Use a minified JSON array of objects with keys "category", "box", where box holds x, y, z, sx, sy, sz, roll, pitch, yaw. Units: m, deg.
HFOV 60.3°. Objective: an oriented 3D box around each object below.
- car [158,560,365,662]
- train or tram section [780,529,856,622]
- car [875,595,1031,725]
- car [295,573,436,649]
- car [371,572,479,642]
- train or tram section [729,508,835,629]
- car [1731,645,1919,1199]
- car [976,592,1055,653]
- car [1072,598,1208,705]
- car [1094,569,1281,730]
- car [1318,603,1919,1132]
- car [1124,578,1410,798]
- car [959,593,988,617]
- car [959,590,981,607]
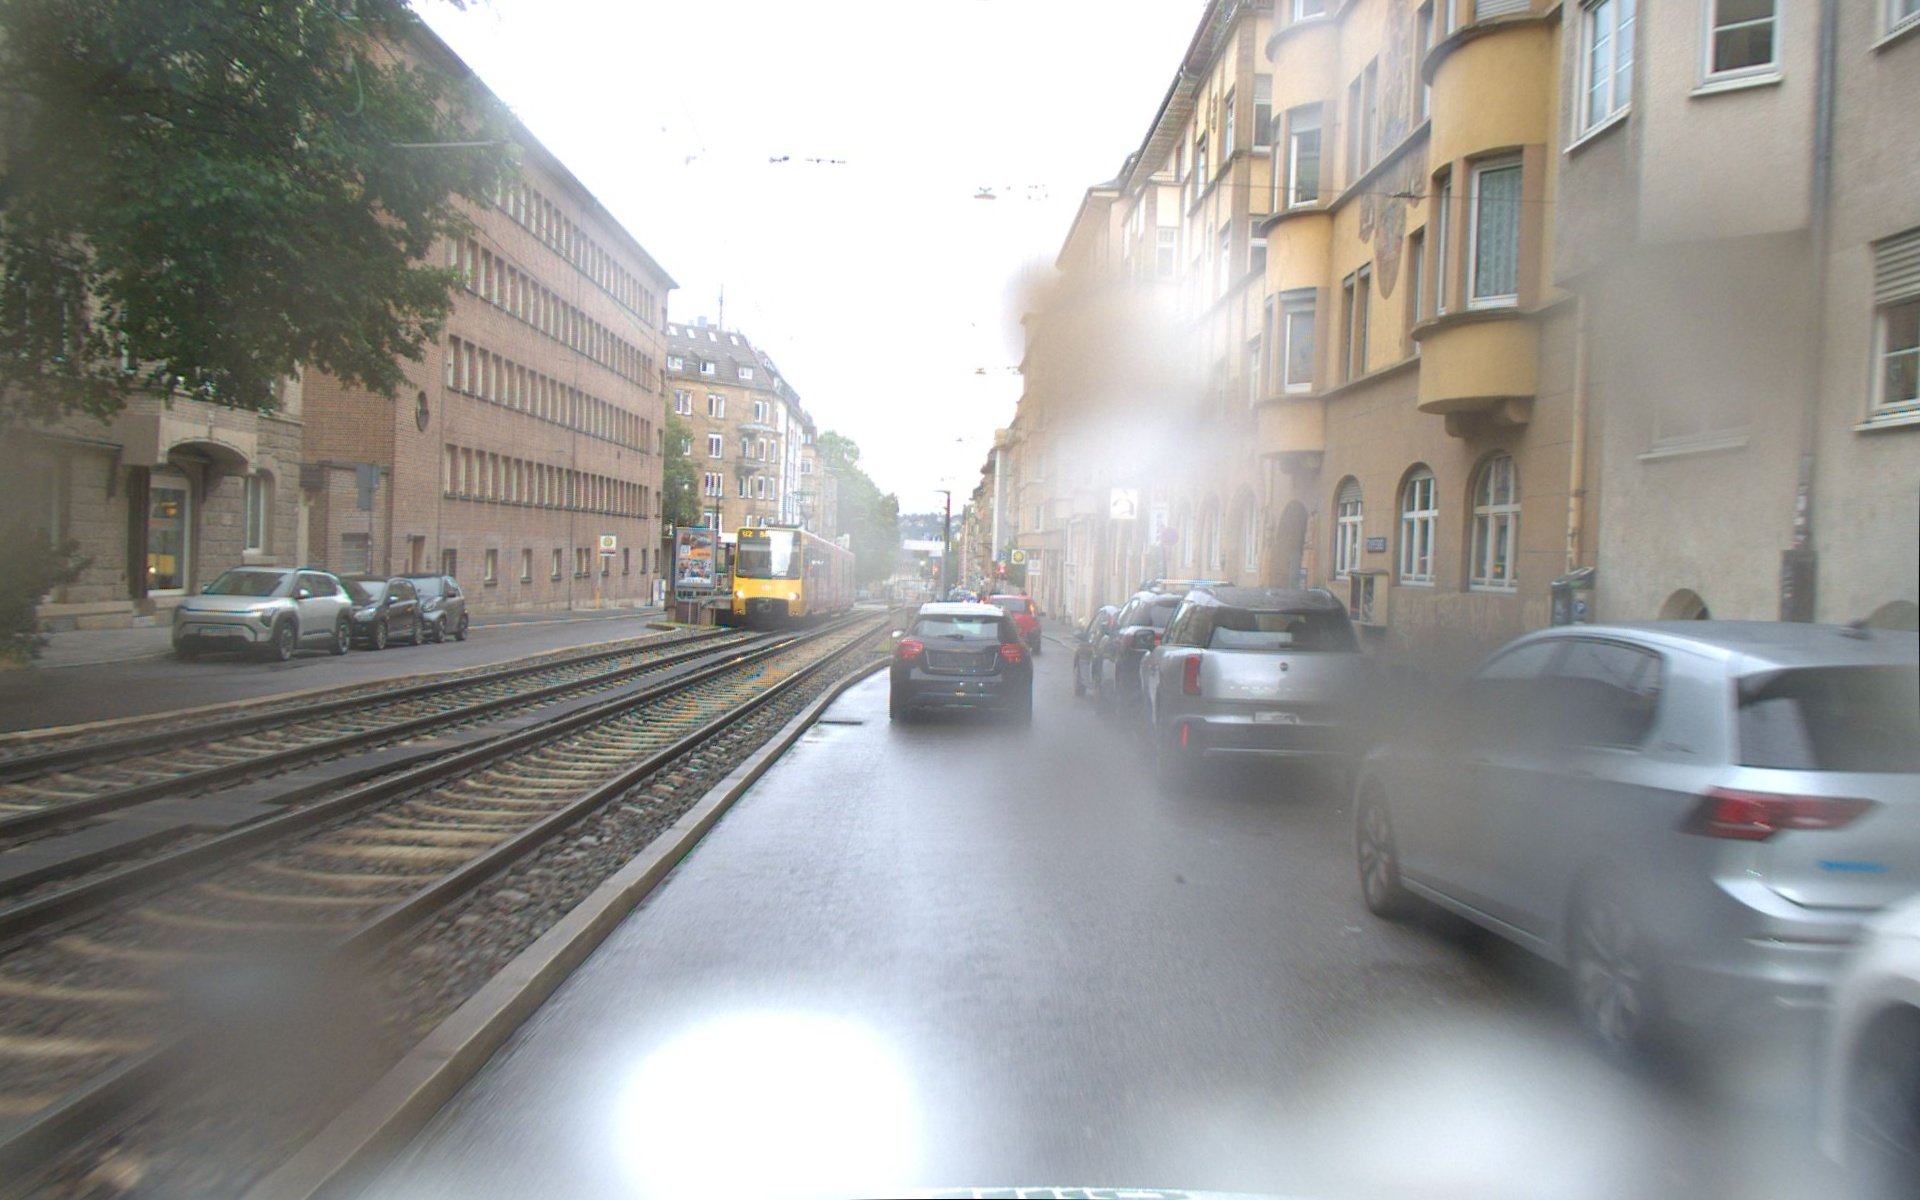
[{"category":"car","box":[-12.386,0.160,29.656,1.921,1.633,4.327,2,0,-2]},{"category":"train or tram section","box":[-6.882,-1.163,82.424,2.690,4.132,15.657,1,0,-1]},{"category":"car","box":[-0.093,0.702,21.256,1.797,1.478,3.901,1,0,0]},{"category":"car","box":[-12.403,0.200,34.714,1.633,1.440,3.687,2,0,-1]},{"category":"car","box":[-12.393,0.141,38.478,1.540,1.492,3.044,2,0,-2]},{"category":"train or tram section","box":[-6.846,-1.149,66.126,2.690,4.132,17.210,1,0,-1]},{"category":"car","box":[3.006,0.827,2.322,1.753,1.410,4.394,1,-1,-1]},{"category":"car","box":[1.485,0.601,45.836,1.953,1.552,4.245,2,0,0]},{"category":"car","box":[2.723,0.758,25.588,1.559,1.465,3.308,3,-1,-2]},{"category":"car","box":[2.761,0.580,20.972,1.742,1.780,4.548,1,-1,0]},{"category":"car","box":[2.964,0.790,6.919,1.795,1.493,4.373,1,-1,-3]},{"category":"car","box":[2.558,0.687,14.910,1.803,1.636,4.761,1,-1,2]},{"category":"car","box":[0.948,0.321,113.829,1.848,1.552,4.246,2,0,1]},{"category":"car","box":[1.014,-0.164,164.603,2.091,1.552,4.245,2,0,0]}]
